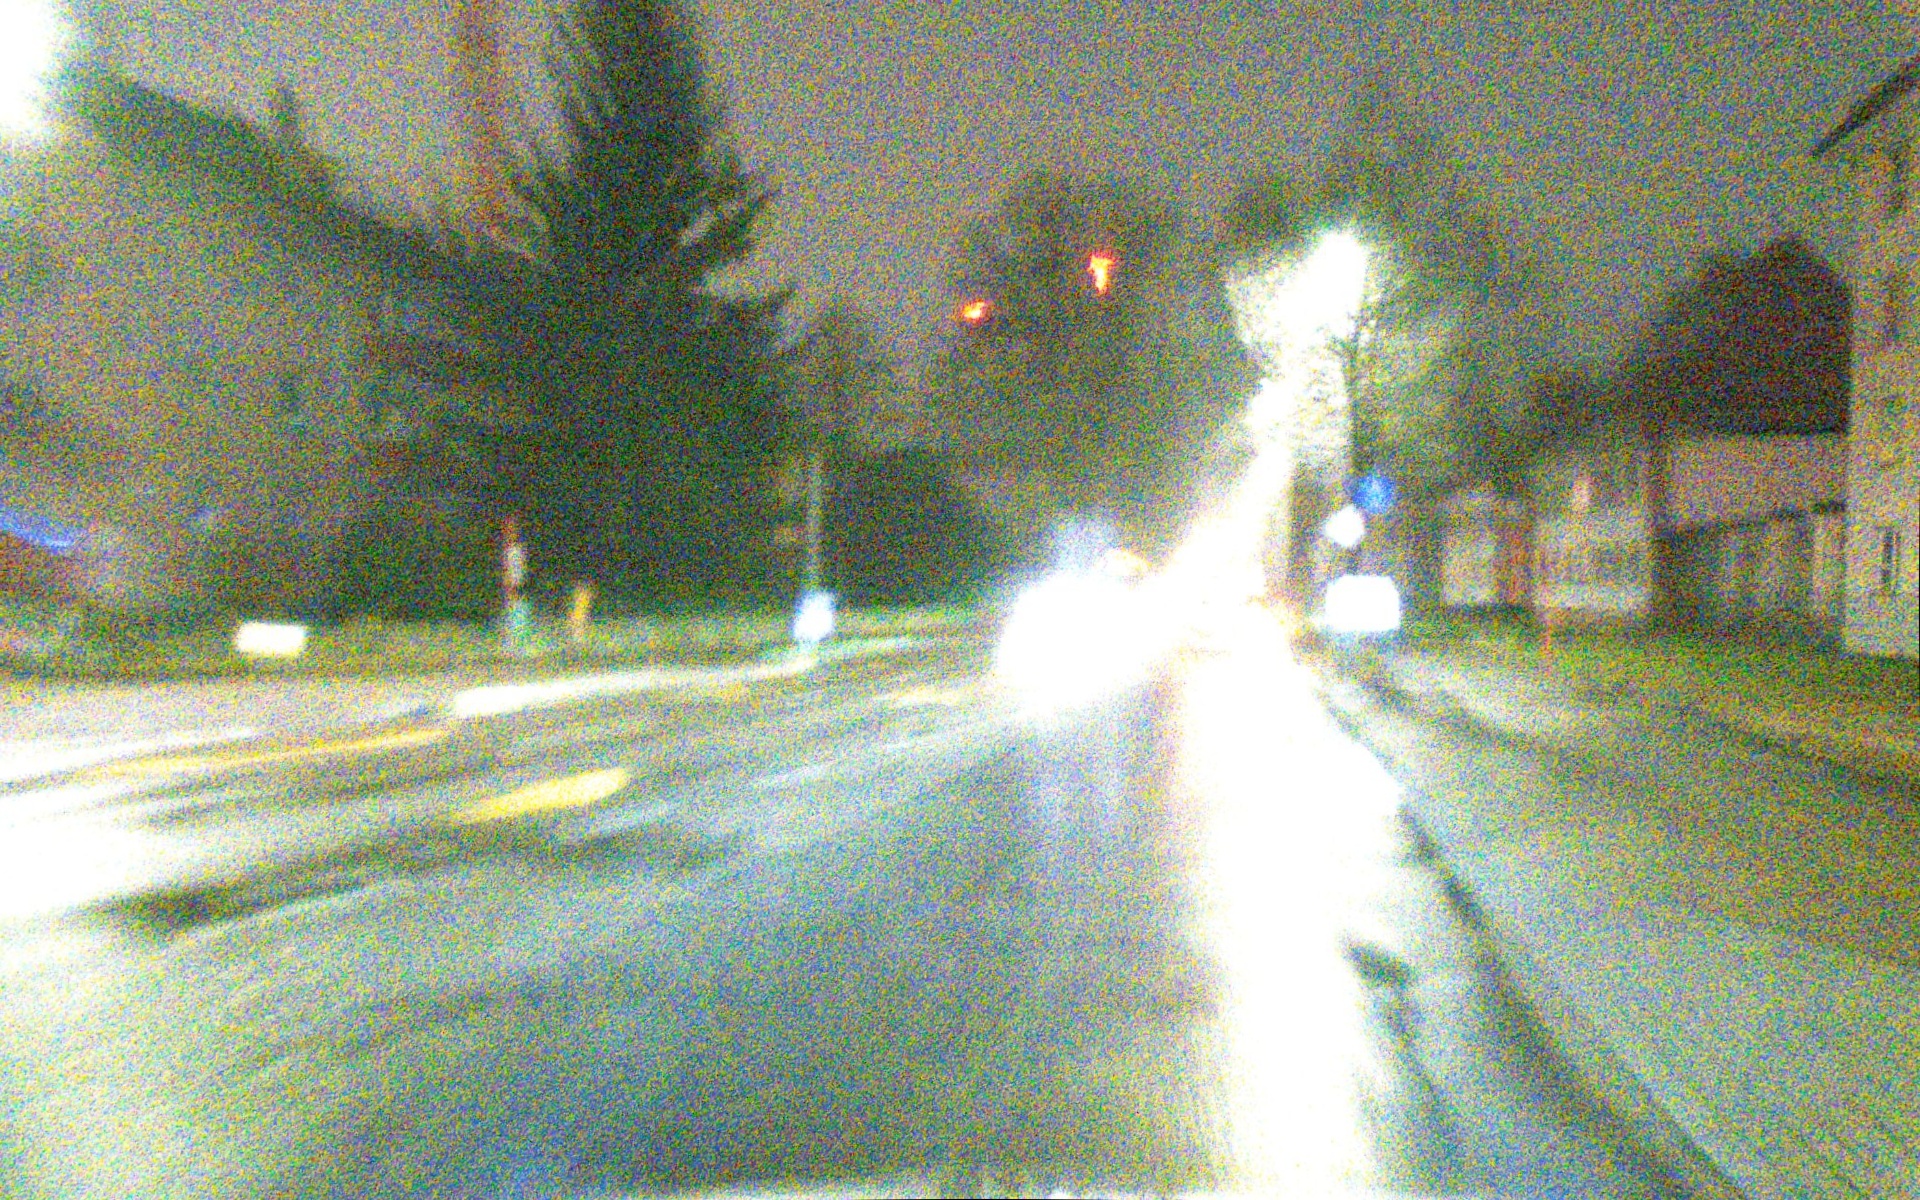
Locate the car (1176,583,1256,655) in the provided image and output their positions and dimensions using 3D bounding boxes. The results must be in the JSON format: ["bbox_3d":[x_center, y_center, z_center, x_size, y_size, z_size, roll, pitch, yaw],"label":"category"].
[{"bbox_3d":[6.914,0.478,44.550,1.951,1.713,4.003,3,1,9],"label":"car"}]
